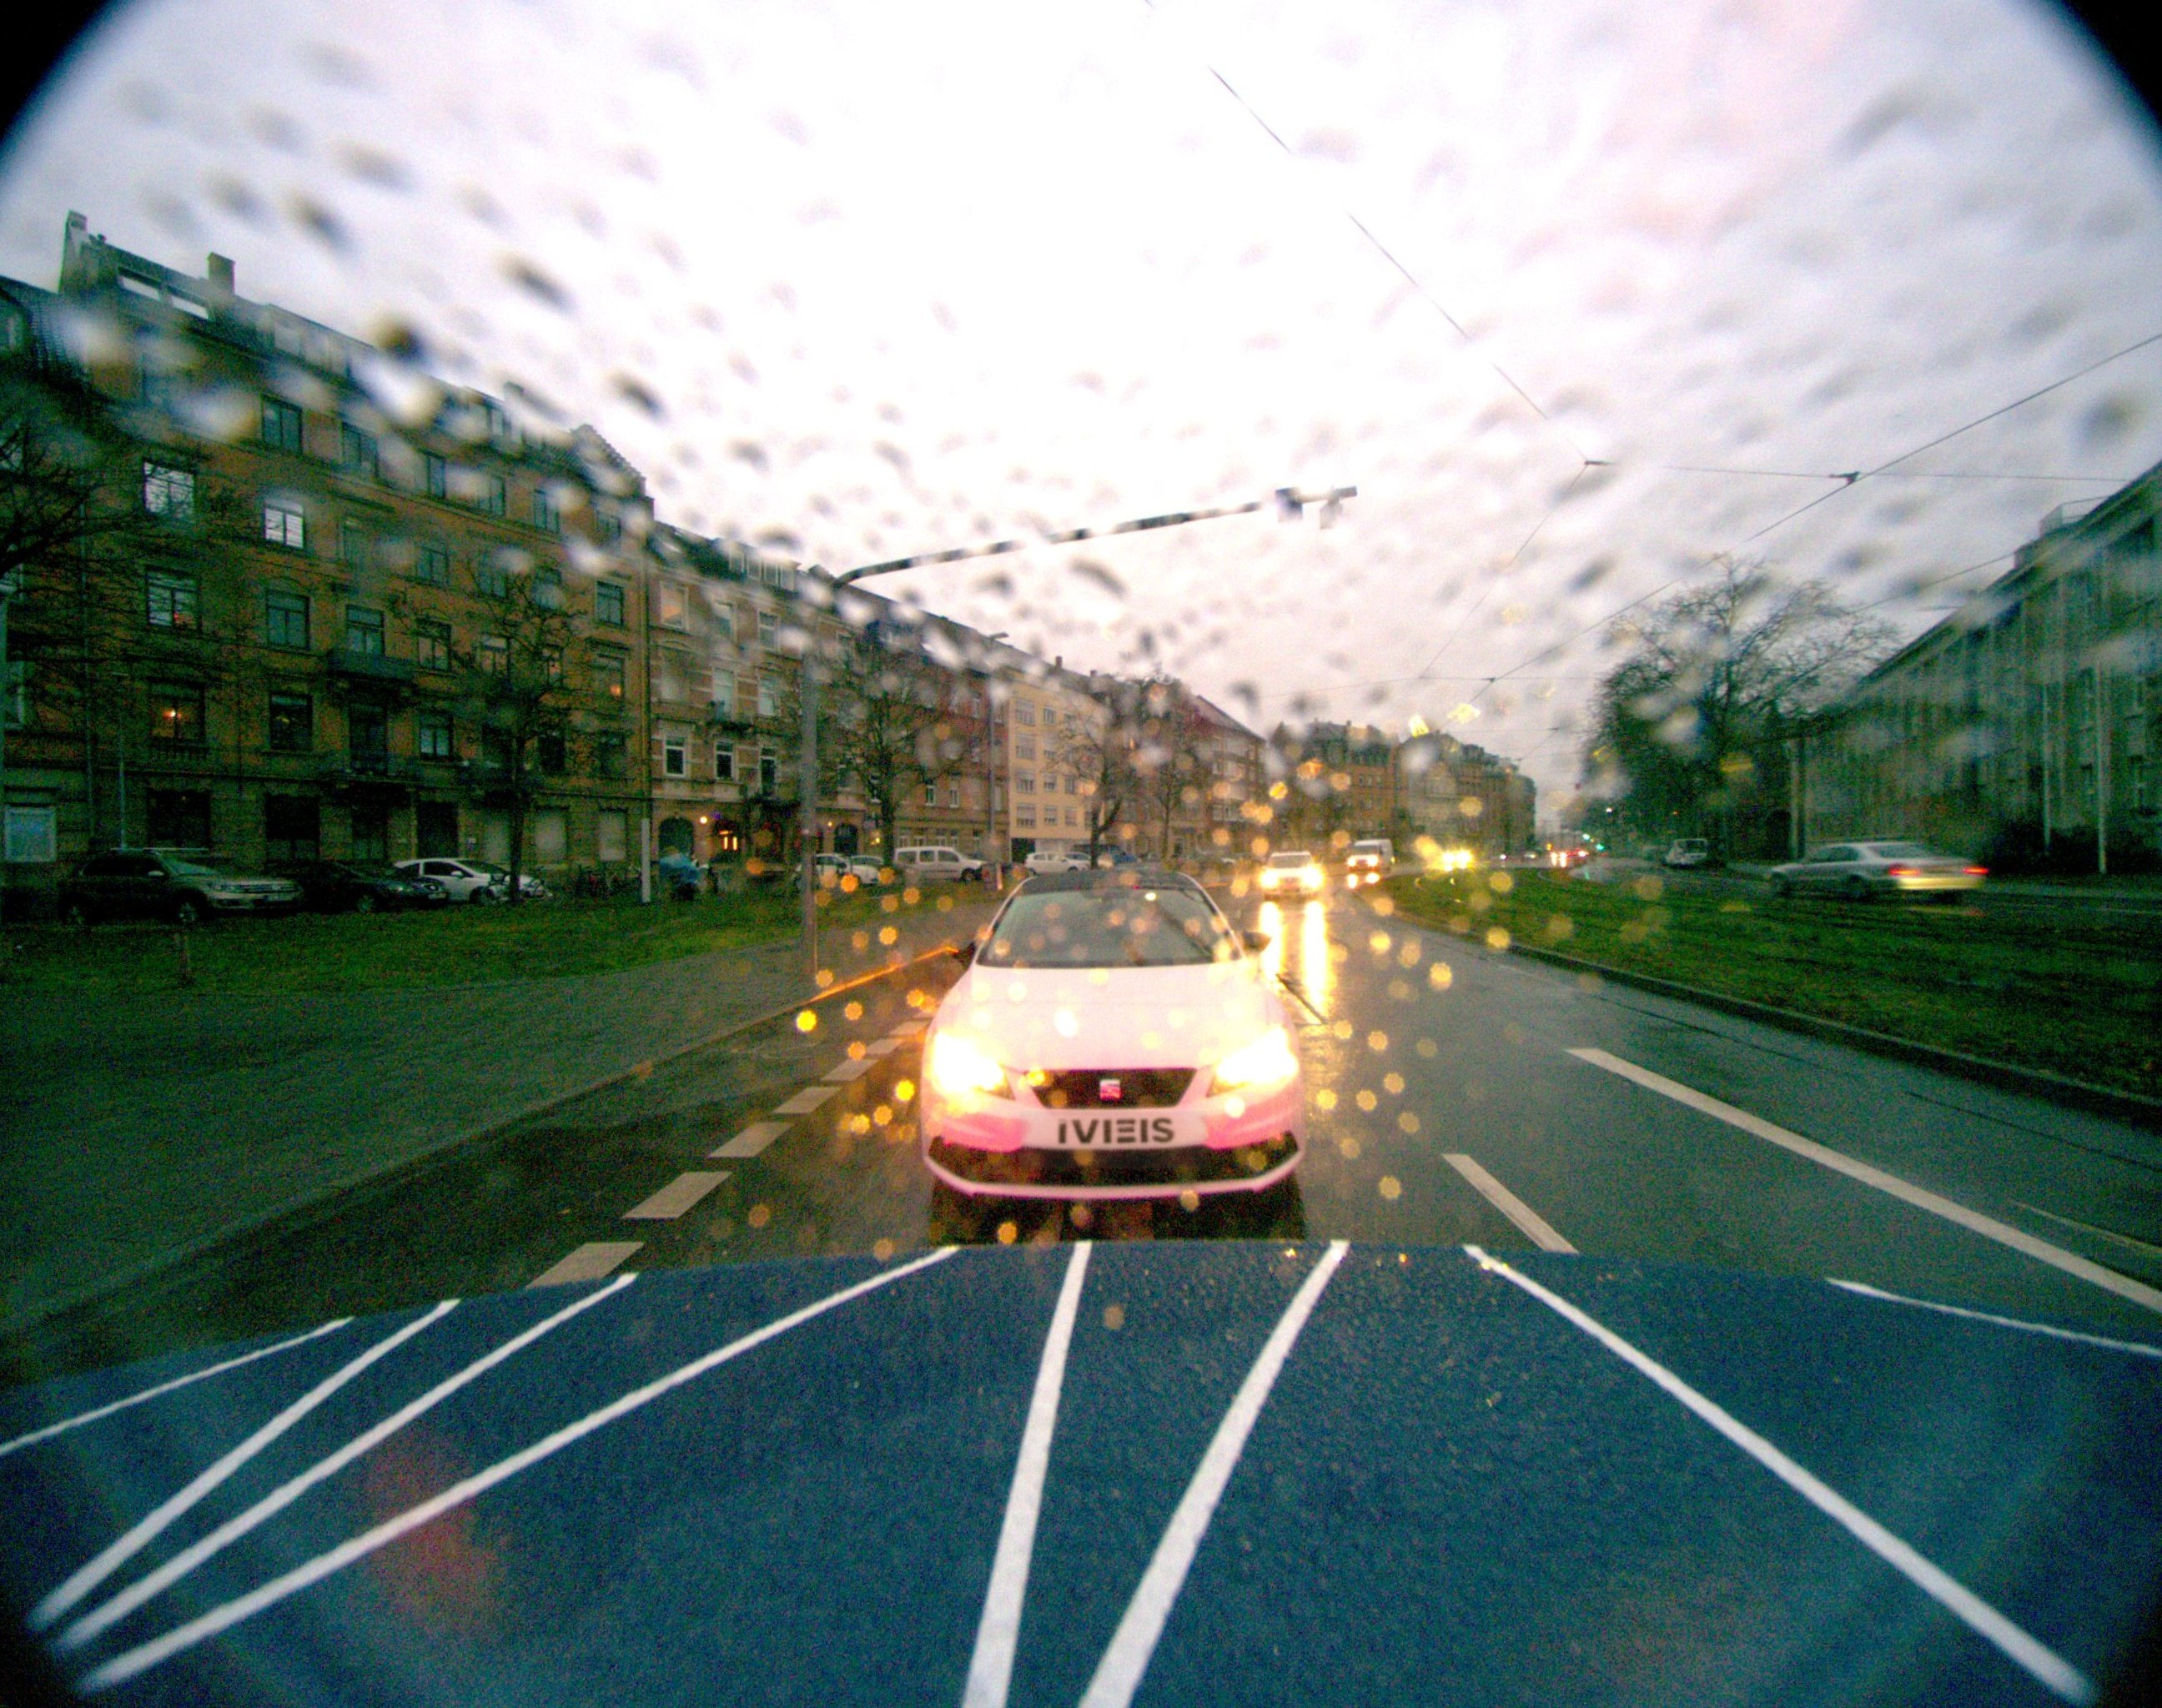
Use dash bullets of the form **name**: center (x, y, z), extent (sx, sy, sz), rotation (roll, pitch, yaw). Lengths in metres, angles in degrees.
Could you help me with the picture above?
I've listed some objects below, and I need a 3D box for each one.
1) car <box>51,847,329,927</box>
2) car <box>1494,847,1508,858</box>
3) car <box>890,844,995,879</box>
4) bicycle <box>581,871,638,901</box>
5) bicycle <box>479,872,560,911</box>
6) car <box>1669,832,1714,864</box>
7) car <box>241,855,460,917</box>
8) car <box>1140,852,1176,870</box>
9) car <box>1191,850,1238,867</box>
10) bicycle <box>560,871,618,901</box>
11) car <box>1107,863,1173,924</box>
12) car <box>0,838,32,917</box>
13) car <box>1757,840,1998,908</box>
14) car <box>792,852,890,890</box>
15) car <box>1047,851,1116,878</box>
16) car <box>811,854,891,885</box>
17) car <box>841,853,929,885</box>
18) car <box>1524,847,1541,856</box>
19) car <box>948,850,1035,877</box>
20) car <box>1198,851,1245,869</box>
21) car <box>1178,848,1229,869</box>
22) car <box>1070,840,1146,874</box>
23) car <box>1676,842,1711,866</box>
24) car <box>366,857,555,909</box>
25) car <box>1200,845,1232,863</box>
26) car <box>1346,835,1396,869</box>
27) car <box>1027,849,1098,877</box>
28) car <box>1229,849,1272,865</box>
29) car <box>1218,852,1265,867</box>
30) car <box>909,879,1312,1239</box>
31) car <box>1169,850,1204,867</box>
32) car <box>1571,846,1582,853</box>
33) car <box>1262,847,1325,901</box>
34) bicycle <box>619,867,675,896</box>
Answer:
- **car**: center (-19.508, 0.665, 16.767), extent (3.996, 1.627, 1.944), rotation (0, 1, 4)
- **car**: center (65.478, -0.201, 118.351), extent (1.719, 1.608, 3.946), rotation (-1, 0, 32)
- **car**: center (-6.613, 0.328, 36.503), extent (4.659, 1.583, 1.778), rotation (1, 1, 3)
- **bicycle**: center (-15.826, 1.071, 25.487), extent (2.165, 0.960, 0.627), rotation (-2, -2, 28)
- **bicycle**: center (-14.432, 0.956, 19.571), extent (1.655, 0.931, 0.513), rotation (0, 0, -35)
- **car**: center (41.874, -0.416, 52.208), extent (1.995, 2.002, 4.518), rotation (-3, 0, 35)
- **car**: center (-18.080, 0.779, 18.930), extent (3.742, 1.346, 1.677), rotation (-2, -1, -2)
- **car**: center (7.136, 0.645, 70.437), extent (1.470, 1.534, 3.880), rotation (0, 1, 38)
- **car**: center (10.947, 0.327, 62.234), extent (3.760, 1.325, 1.603), rotation (-1, 1, 11)
- **bicycle**: center (-16.115, 1.057, 24.888), extent (2.165, 0.960, 0.627), rotation (-2, -2, 28)
- **car**: center (1.539, 0.982, 19.958), extent (1.589, 1.418, 3.135), rotation (-1, 0, 4)
- **car**: center (-29.131, 0.606, 17.943), extent (1.994, 2.002, 4.997), rotation (1, 1, 34)
- **car**: center (19.871, 0.451, 19.334), extent (1.824, 1.426, 4.659), rotation (-3, 0, 11)
- **car**: center (-9.971, 0.693, 31.709), extent (3.462, 1.435, 1.615), rotation (-2, 0, 6)
- **car**: center (0.016, 0.618, 45.822), extent (3.998, 1.406, 1.641), rotation (-3, 0, -2)
- **car**: center (-12.645, 0.838, 41.996), extent (1.733, 1.492, 4.058), rotation (-3, -1, 32)
- **car**: center (-8.768, 0.658, 34.127), extent (3.430, 1.343, 1.664), rotation (-1, 0, 2)
- **car**: center (71.247, -0.337, 119.896), extent (1.892, 1.405, 3.955), rotation (0, 0, 37)
- **car**: center (-4.539, 0.496, 38.812), extent (4.058, 1.227, 1.771), rotation (1, 0, 6)
- **car**: center (11.850, 0.524, 64.046), extent (3.760, 1.324, 1.603), rotation (-3, 0, 11)
- **car**: center (9.589, 0.351, 59.759), extent (3.869, 1.397, 1.695), rotation (-3, 0, 6)
- **car**: center (1.678, 0.216, 48.509), extent (4.720, 1.971, 1.799), rotation (-2, 0, -2)
- **car**: center (39.121, 0.013, 48.592), extent (1.557, 1.420, 2.960), rotation (-1, 1, 36)
- **car**: center (-17.214, 0.775, 21.215), extent (3.856, 1.329, 1.698), rotation (-1, 0, -1)
- **car**: center (14.284, 0.014, 80.330), extent (1.670, 1.693, 3.472), rotation (-3, 0, 40)
- **car**: center (21.641, -0.173, 56.590), extent (2.125, 2.366, 5.649), rotation (-3, 0, 34)
- **car**: center (-1.030, 0.512, 43.679), extent (3.770, 1.424, 1.762), rotation (-3, 0, 9)
- **car**: center (15.429, 0.276, 69.385), extent (3.760, 1.346, 1.603), rotation (-3, 0, 11)
- **car**: center (13.839, 0.481, 65.725), extent (3.762, 1.271, 1.602), rotation (-1, 0, 5)
- **car**: center (0.123, 0.965, 5.201), extent (1.715, 1.404, 3.679), rotation (-3, 0, 0)
- **car**: center (10.566, 0.434, 75.852), extent (1.690, 1.534, 4.008), rotation (-3, 0, 38)
- **car**: center (138.672, -1.229, 212.433), extent (1.948, 1.804, 4.008), rotation (0, 1, 43)
- **car**: center (7.503, 0.648, 26.565), extent (1.672, 1.650, 4.154), rotation (-3, 0, 21)
- **bicycle**: center (-15.063, 0.931, 26.365), extent (2.165, 0.960, 0.627), rotation (0, 1, 28)
